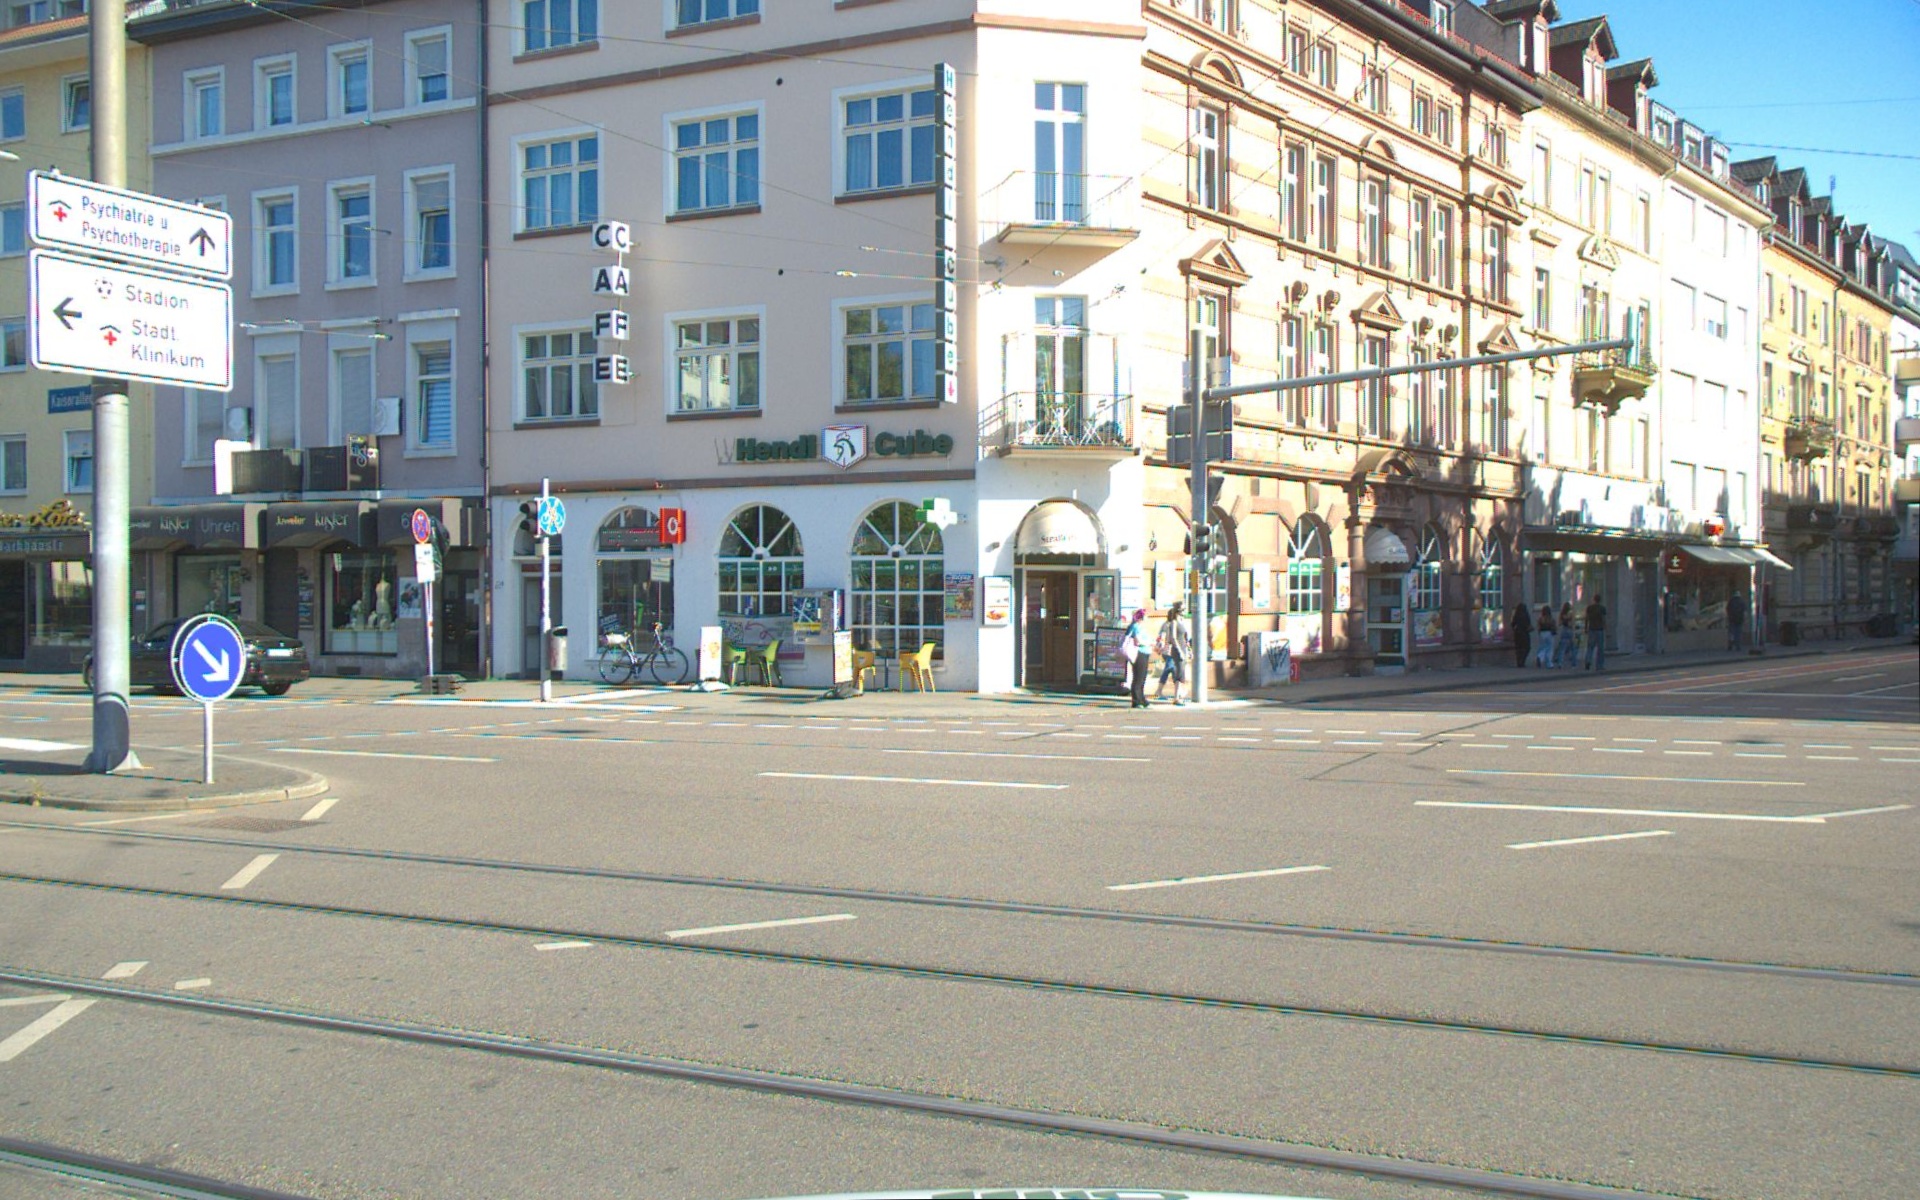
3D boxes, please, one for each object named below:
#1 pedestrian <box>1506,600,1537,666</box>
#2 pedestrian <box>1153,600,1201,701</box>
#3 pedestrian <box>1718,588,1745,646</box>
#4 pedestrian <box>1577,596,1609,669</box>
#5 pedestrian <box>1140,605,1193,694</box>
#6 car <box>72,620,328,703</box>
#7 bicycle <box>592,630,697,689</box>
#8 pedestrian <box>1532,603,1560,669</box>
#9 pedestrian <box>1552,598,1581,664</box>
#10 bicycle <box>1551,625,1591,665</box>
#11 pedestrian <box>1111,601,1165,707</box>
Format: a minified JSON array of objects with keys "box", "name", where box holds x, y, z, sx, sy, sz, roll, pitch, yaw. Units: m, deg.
[{"box":[14.360,0.834,42.286,0.616,1.670,0.535,0,0,36],"name":"pedestrian"},{"box":[3.666,0.844,27.937,0.620,1.670,0.550,0,0,38],"name":"pedestrian"},{"box":[25.743,0.560,55.196,0.671,1.942,0.629,0,0,40],"name":"pedestrian"},{"box":[16.212,0.822,42.353,0.571,1.868,0.629,0,0,40],"name":"pedestrian"},{"box":[3.647,0.865,29.242,0.652,1.551,0.687,0,0,-34],"name":"pedestrian"},{"box":[-14.305,1.111,31.132,4.545,1.465,1.744,0,-1,22],"name":"car"},{"box":[-6.018,1.126,31.563,1.901,1.086,0.584,0,0,14],"name":"bicycle"},{"box":[14.897,0.906,42.024,0.541,1.670,0.535,0,0,35],"name":"pedestrian"},{"box":[15.583,0.788,42.486,0.541,1.670,0.630,0,0,36],"name":"pedestrian"},{"box":[17.072,1.249,46.208,0.487,1.086,1.760,0,0,40],"name":"bicycle"},{"box":[2.869,0.858,26.591,0.664,1.670,0.576,0,0,38],"name":"pedestrian"}]
